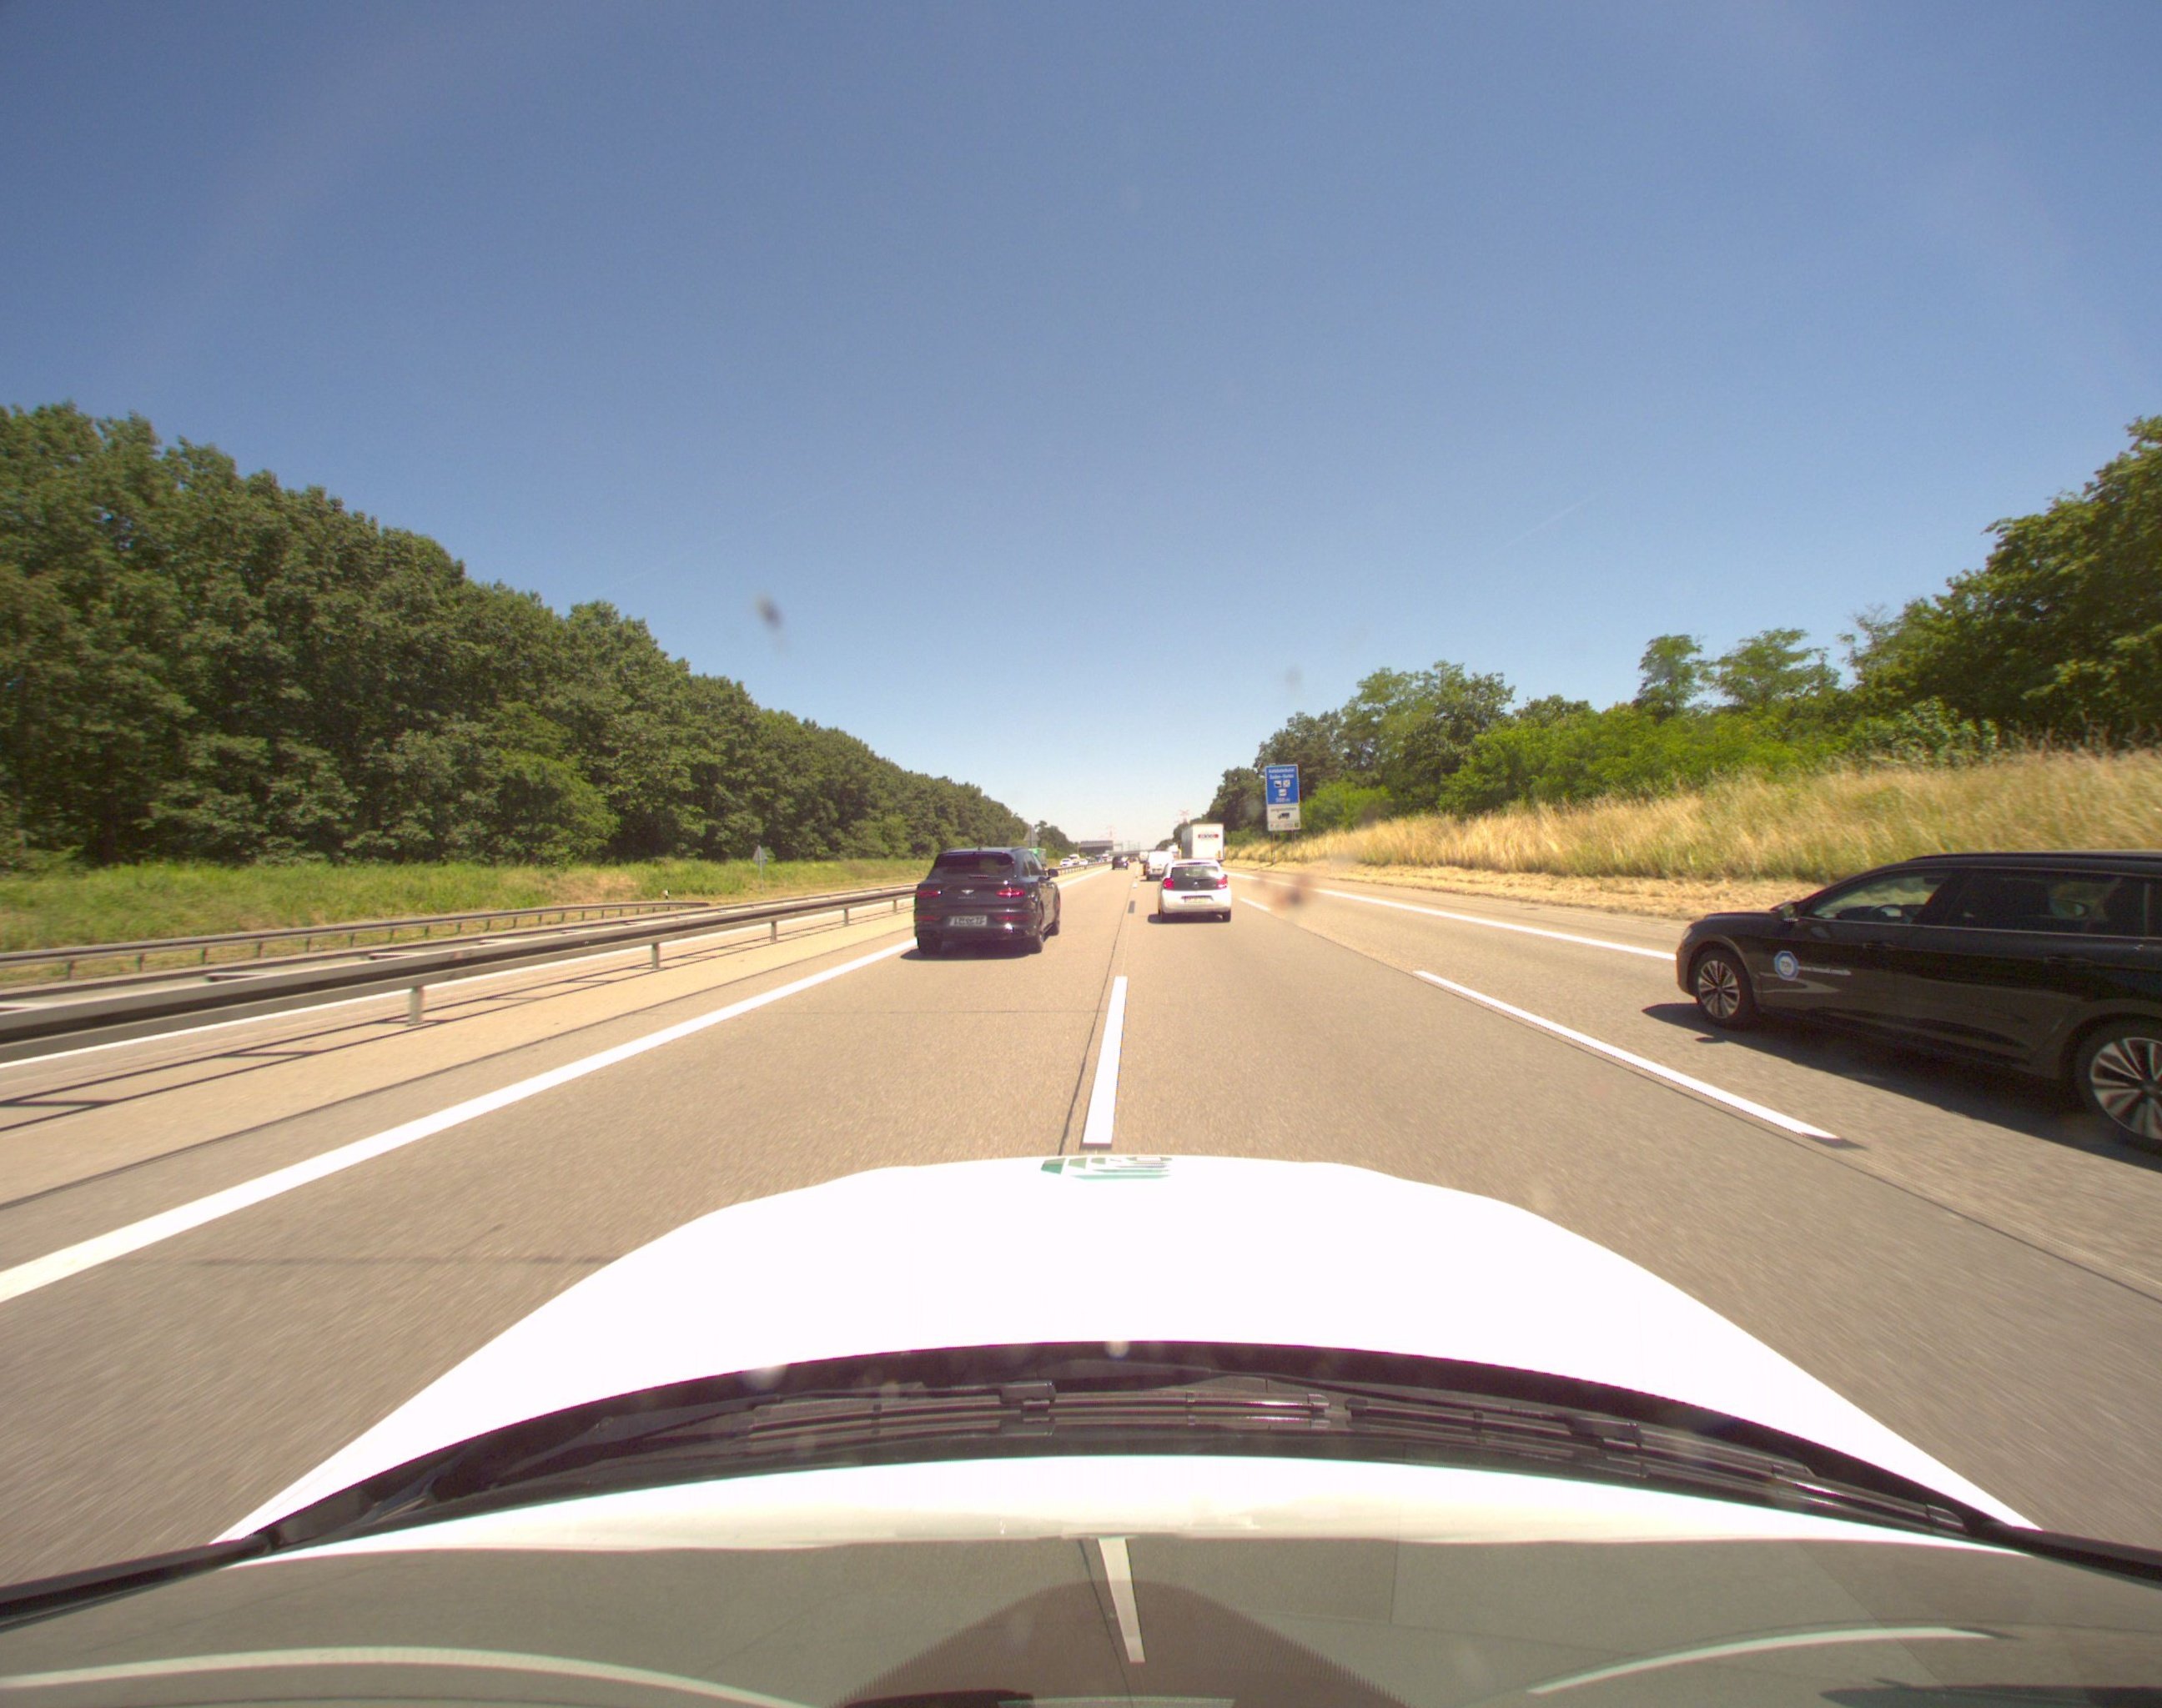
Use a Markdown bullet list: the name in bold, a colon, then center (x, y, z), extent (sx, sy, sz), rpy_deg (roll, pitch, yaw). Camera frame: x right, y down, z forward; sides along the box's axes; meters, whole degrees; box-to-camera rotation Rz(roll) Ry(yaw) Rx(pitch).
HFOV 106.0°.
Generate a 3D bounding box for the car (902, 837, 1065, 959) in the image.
- **car**: center (-1.492, 0.618, 14.890), extent (1.932, 1.752, 5.818), rpy_deg (-1, 1, 3)

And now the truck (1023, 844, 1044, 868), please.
- **truck**: center (-8.927, 0.420, 153.616), extent (2.689, 4.161, 6.303), rpy_deg (-5, 0, 4)

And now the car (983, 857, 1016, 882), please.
- **car**: center (-7.939, 1.481, 79.977), extent (2.156, 2.130, 5.428), rpy_deg (-5, 0, 4)

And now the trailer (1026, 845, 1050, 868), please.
- **trailer**: center (-8.371, 0.411, 161.459), extent (2.693, 4.161, 14.353), rpy_deg (-5, 0, 4)

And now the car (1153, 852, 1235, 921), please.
- **car**: center (2.692, 0.717, 20.105), extent (1.701, 1.495, 4.028), rpy_deg (-1, 0, 4)

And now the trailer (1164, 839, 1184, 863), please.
- **trailer**: center (15.295, -0.444, 134.967), extent (2.671, 3.837, 12.021), rpy_deg (-1, 0, 4)

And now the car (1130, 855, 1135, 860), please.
- **car**: center (14.623, 1.032, 230.912), extent (1.600, 1.300, 3.678), rpy_deg (-1, 0, 4)

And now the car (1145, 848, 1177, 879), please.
- **car**: center (5.041, 0.560, 52.146), extent (1.806, 1.827, 5.115), rpy_deg (-2, 0, 4)

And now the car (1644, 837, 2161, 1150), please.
- **car**: center (6.009, 0.637, 5.110), extent (1.814, 1.456, 4.792), rpy_deg (-1, 0, 3)

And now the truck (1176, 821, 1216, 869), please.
- **truck**: center (10.790, -0.804, 76.882), extent (3.272, 4.219, 6.013), rpy_deg (-1, 0, 3)

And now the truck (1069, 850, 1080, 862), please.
- **truck**: center (-2.099, 0.610, 249.710), extent (2.670, 3.434, 6.151), rpy_deg (-4, 0, 4)

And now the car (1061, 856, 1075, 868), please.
- **car**: center (-2.235, 1.365, 141.083), extent (1.945, 1.792, 5.568), rpy_deg (-5, 0, 4)

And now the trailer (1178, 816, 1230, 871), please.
- **trailer**: center (10.400, -0.788, 70.409), extent (3.271, 4.219, 13.578), rpy_deg (-1, 0, 4)

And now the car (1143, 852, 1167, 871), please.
- **car**: center (5.960, 0.594, 65.908), extent (1.767, 1.472, 3.876), rpy_deg (-2, 0, 3)

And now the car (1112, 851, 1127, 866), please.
- **car**: center (4.775, 0.560, 100.562), extent (1.619, 1.755, 3.809), rpy_deg (-1, 0, 4)

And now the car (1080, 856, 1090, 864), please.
- **car**: center (0.900, 1.189, 173.894), extent (1.648, 1.500, 4.605), rpy_deg (-5, 0, 4)

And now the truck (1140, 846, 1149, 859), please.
- **truck**: center (14.454, -0.325, 185.592), extent (2.051, 2.914, 7.010), rpy_deg (-2, 0, 4)

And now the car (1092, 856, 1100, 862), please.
- **car**: center (4.024, 1.359, 211.804), extent (1.701, 1.410, 5.089), rpy_deg (-5, 0, 4)
